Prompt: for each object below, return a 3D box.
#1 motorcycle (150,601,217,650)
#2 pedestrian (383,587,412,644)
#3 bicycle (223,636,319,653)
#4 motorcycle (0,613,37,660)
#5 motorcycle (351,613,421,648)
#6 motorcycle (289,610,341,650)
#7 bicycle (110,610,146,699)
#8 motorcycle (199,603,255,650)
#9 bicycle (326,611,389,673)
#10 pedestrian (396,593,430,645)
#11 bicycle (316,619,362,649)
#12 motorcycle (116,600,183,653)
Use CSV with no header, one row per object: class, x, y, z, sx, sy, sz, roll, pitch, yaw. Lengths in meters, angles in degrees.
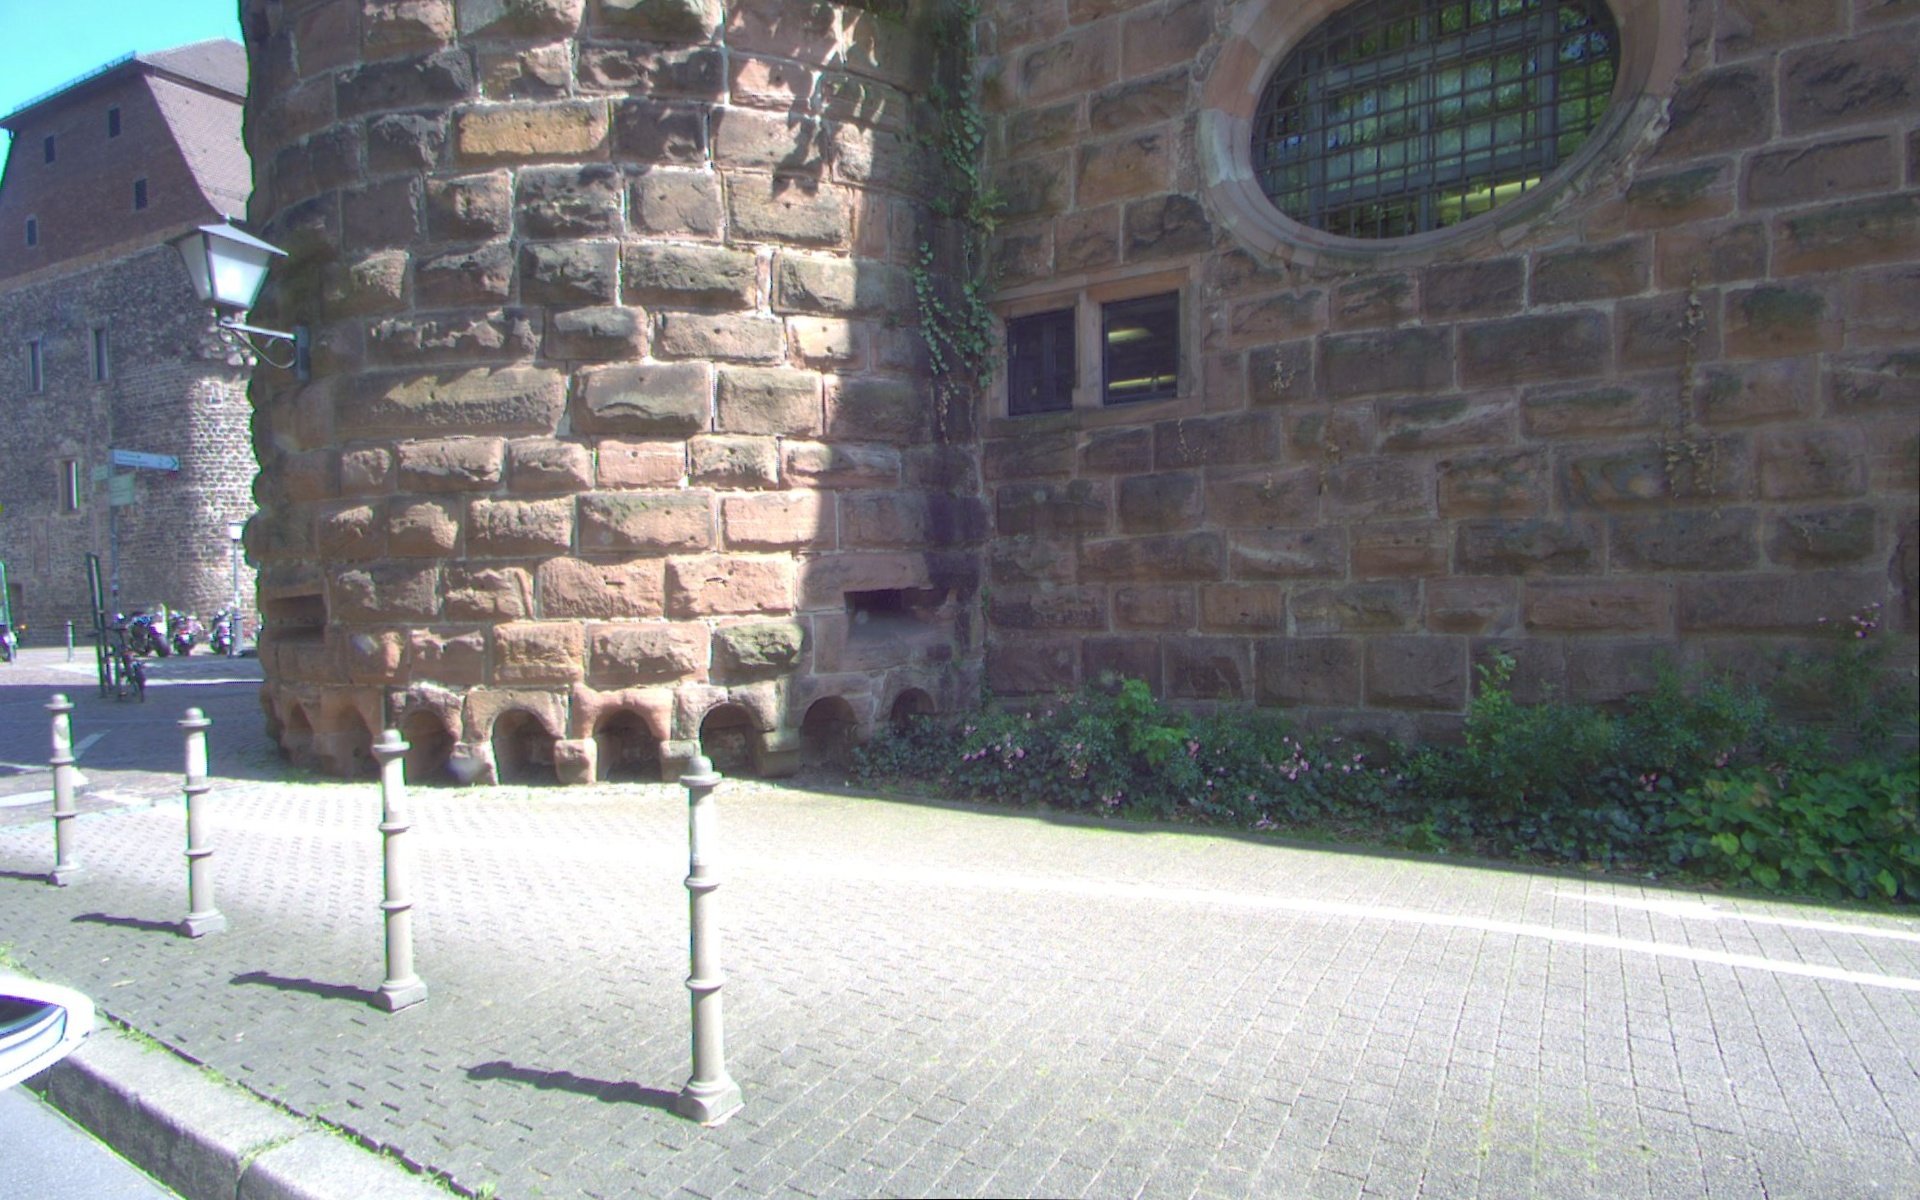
motorcycle,-20.490,0.676,26.409,2.280,1.251,0.674,-1,-2,32
pedestrian,-20.428,0.568,36.345,0.866,2.039,0.728,1,-1,-34
bicycle,-17.578,1.123,25.576,1.916,0.386,0.909,0,-2,-44
motorcycle,-22.139,0.822,23.115,2.453,1.026,0.565,0,1,32
motorcycle,-17.988,0.970,31.436,0.474,1.067,1.858,-1,-2,40
motorcycle,-18.078,0.845,28.071,1.814,1.087,0.506,-1,-2,32
bicycle,-12.019,0.754,14.452,1.750,1.220,0.192,0,1,44
motorcycle,-20.013,0.728,27.316,2.002,1.251,0.545,-1,-2,32
bicycle,-11.964,0.805,19.866,1.707,1.178,0.445,0,1,36
pedestrian,-19.211,0.669,35.156,0.830,1.826,0.654,0,0,3
bicycle,-18.377,0.997,29.617,1.898,0.831,0.353,0,-1,32
motorcycle,-20.604,0.676,25.436,2.169,1.282,0.654,-1,-1,32
